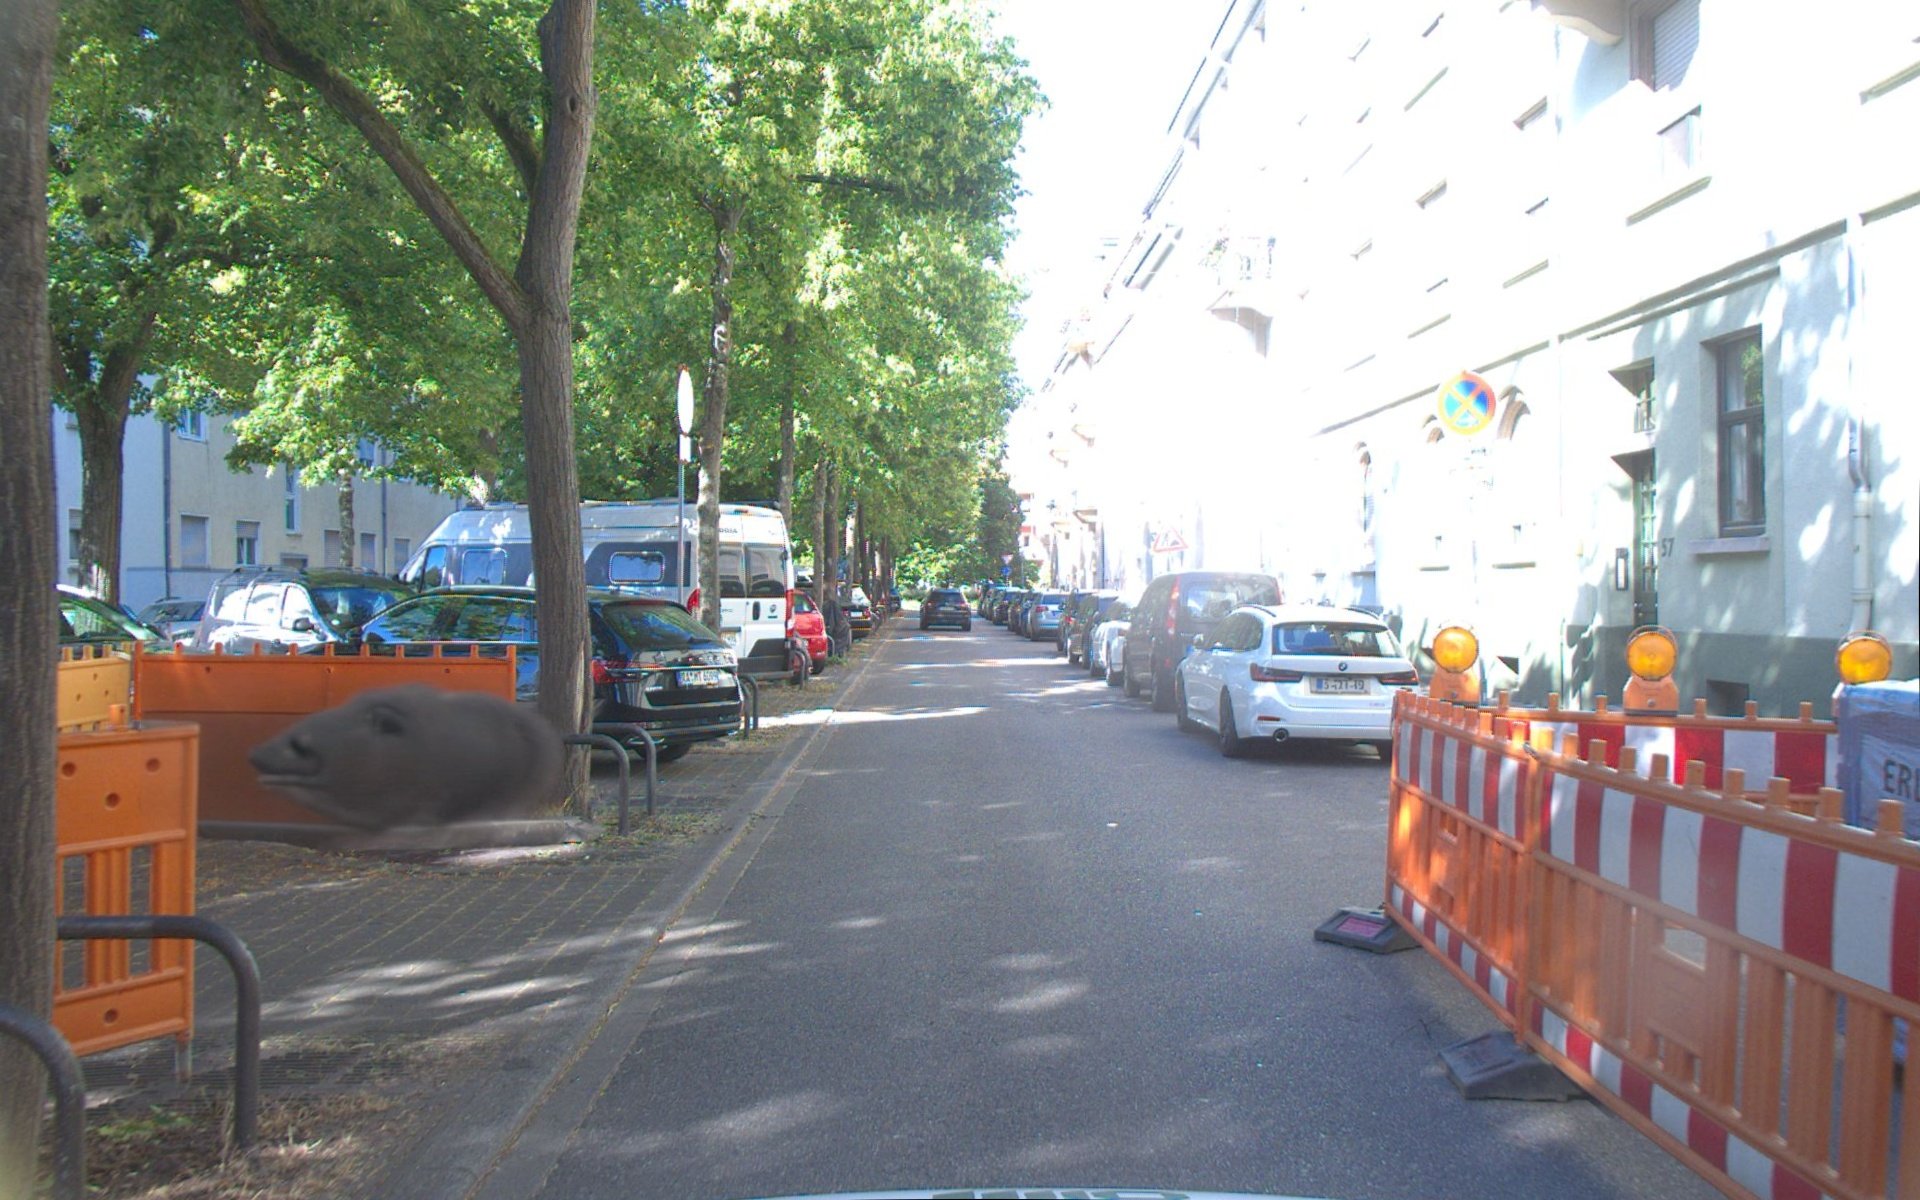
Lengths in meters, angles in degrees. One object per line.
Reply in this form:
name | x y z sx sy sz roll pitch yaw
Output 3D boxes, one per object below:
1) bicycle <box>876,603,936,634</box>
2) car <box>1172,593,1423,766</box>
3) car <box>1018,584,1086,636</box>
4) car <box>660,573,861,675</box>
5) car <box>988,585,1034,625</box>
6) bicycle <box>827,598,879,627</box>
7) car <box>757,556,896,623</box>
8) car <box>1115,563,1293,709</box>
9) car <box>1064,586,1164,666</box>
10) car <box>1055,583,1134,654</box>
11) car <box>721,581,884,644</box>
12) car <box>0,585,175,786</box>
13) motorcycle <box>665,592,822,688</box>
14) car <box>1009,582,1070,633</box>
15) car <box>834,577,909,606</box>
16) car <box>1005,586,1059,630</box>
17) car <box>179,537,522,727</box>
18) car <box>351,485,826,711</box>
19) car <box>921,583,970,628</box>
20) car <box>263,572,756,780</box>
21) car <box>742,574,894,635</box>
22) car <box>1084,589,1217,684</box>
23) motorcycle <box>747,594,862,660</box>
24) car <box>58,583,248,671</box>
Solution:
bicycle | -1.689 0.579 51.663 1.858 0.935 0.379 1 0 19
car | 3.348 0.714 17.212 1.670 1.538 4.283 -1 0 -1
car | 2.702 0.265 49.470 1.734 1.456 4.290 -1 0 -1
car | -3.543 0.392 28.936 1.649 1.646 3.823 -2 1 -40
car | 2.115 0.182 69.284 1.768 1.591 4.321 -1 1 0
bicycle | -3.715 0.442 57.349 1.772 1.011 0.426 0 0 14
car | -6.262 -0.473 77.931 5.937 2.668 2.457 -4 -2 14
car | 3.278 0.437 22.936 1.735 1.825 3.988 -1 0 -2
car | 3.089 0.478 33.807 1.567 1.518 3.966 -1 0 -1
car | 3.128 0.396 39.130 1.548 1.578 4.041 0 0 0
car | -3.982 0.309 41.486 3.937 1.499 1.621 -1 1 34
car | -7.896 0.633 13.132 2.884 1.478 1.245 0 0 16
motorcycle | -3.252 0.579 24.805 2.277 1.358 0.966 -1 0 -11
car | 2.555 0.207 54.169 1.731 1.579 4.183 -1 0 -1
car | -4.952 -0.467 92.367 4.015 1.492 1.862 1 -1 -11
car | 2.532 0.254 58.650 1.658 1.493 4.004 1 0 -1
car | -7.132 0.323 19.159 4.307 1.948 1.988 0 0 43
car | -4.951 -0.045 21.653 6.192 2.603 2.333 1 0 31
car | -0.504 0.170 59.483 1.679 1.509 4.145 -1 1 0
car | -3.882 0.640 14.101 4.009 1.552 1.699 -2 -1 29
car | -4.124 0.114 47.947 3.996 1.682 1.861 1 0 26
car | 3.159 0.557 28.177 1.574 1.445 4.567 -1 0 -2
motorcycle | -3.042 0.516 32.503 2.101 1.251 0.882 0 0 8
car | -15.041 0.446 31.071 1.715 1.461 4.079 -2 1 -3
